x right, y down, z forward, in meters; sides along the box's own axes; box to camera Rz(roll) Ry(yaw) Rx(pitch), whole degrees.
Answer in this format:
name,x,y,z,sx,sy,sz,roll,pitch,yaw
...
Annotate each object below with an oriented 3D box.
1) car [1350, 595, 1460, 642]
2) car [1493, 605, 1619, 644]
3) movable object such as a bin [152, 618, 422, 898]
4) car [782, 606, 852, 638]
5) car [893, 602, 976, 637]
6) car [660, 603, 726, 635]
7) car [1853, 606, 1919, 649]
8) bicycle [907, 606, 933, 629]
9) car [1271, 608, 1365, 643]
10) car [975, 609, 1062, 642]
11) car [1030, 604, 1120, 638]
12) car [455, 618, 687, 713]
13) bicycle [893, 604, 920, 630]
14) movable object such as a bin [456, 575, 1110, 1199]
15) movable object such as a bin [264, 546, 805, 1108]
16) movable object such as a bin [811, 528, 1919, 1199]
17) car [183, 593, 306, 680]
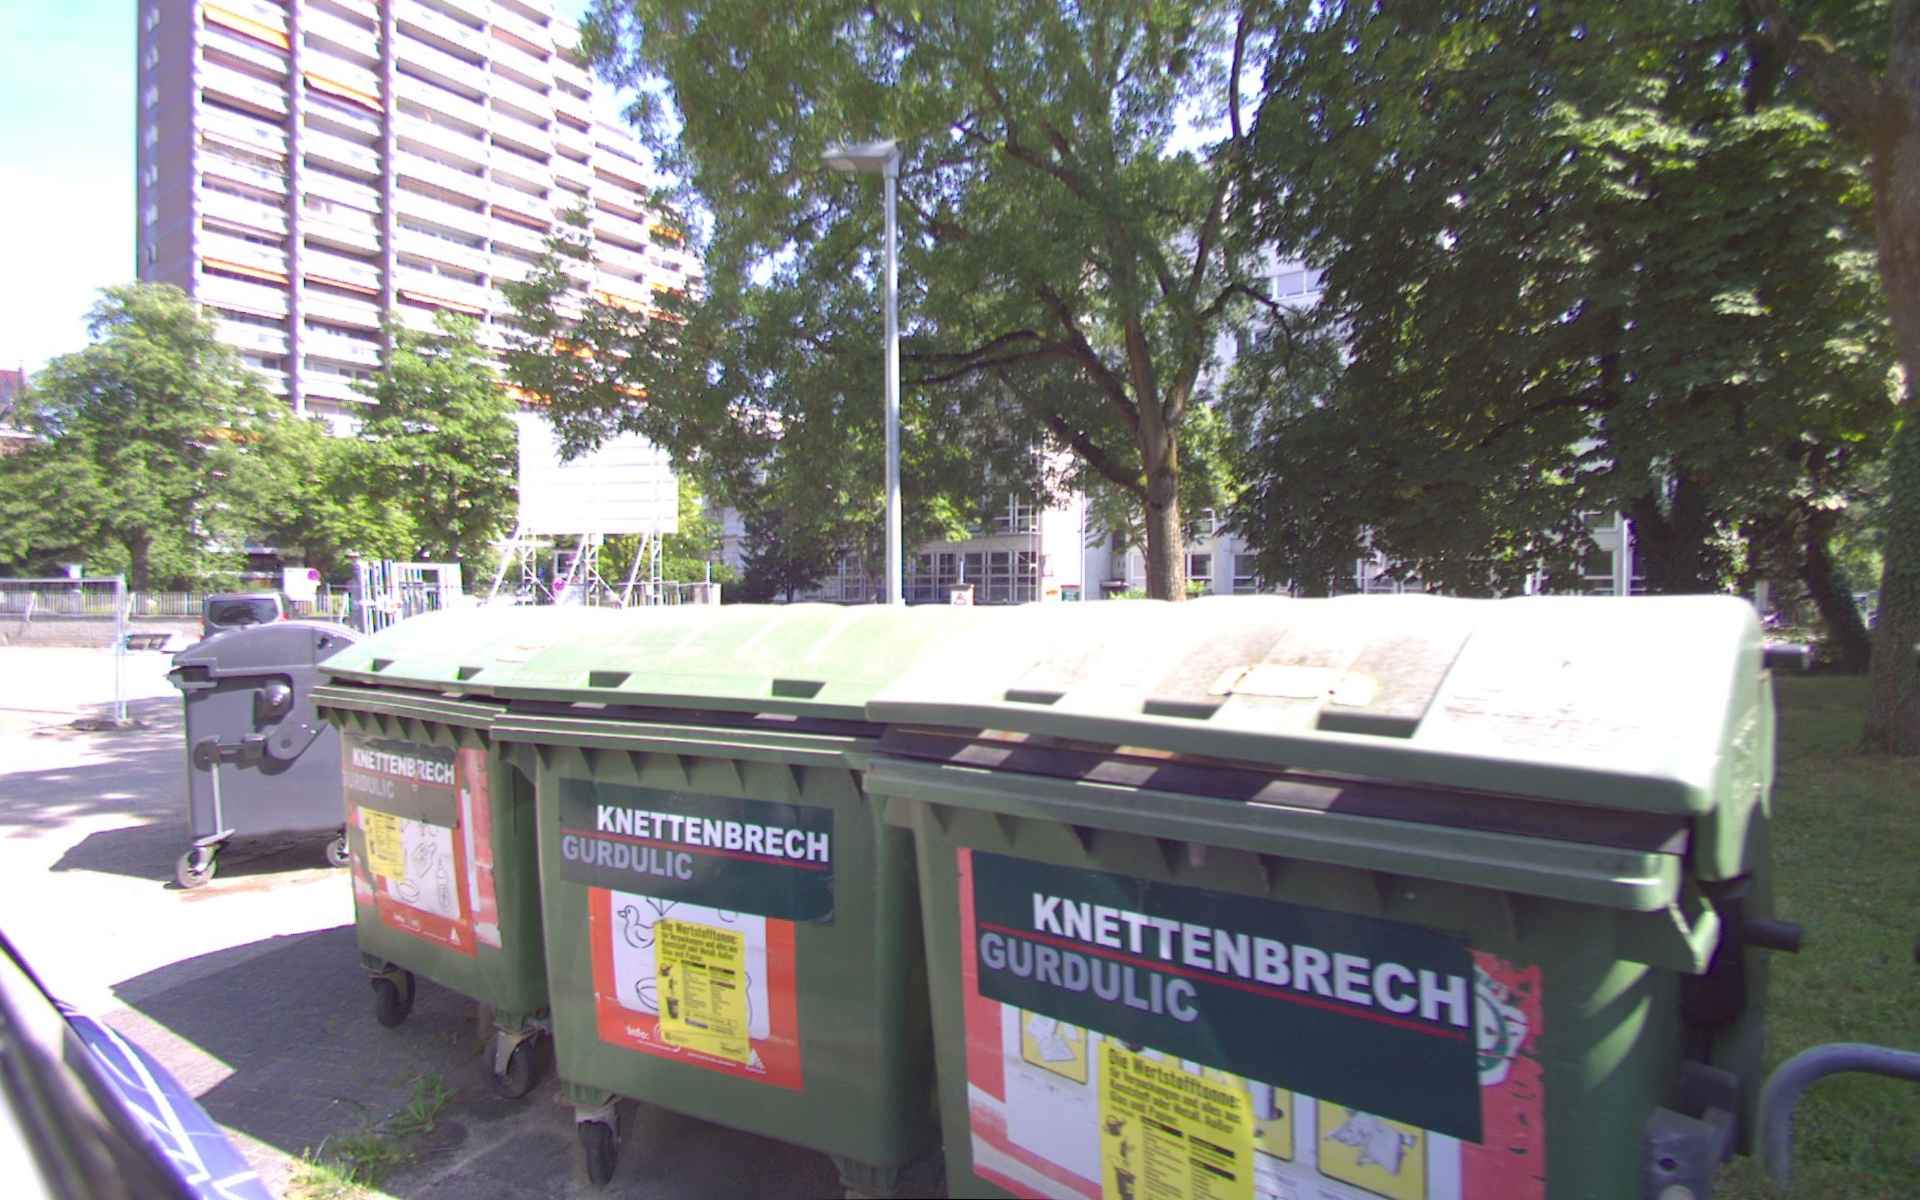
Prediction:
name,x,y,z,sx,sy,sz,roll,pitch,yaw
car,19.078,0.791,43.529,1.757,1.921,4.010,1,-2,-35
car,25.100,1.037,42.750,1.753,1.550,4.230,1,-2,-35
movable object such as a bin,-4.031,0.830,6.132,1.227,1.407,1.408,0,0,-34
car,-6.962,1.040,49.114,1.627,1.463,4.009,0,0,-37
car,-1.262,0.908,48.016,1.778,1.577,4.401,0,-1,-36
car,-13.316,0.907,50.292,1.812,1.420,4.158,-2,2,-35
car,38.338,1.073,40.147,1.798,1.674,4.012,0,-1,-31
bicycle,-2.174,0.958,55.347,0.487,1.209,1.996,0,0,29
car,15.724,1.071,44.622,1.680,1.474,3.863,0,-1,-24
car,2.690,1.159,47.426,1.772,1.487,4.194,0,-1,-38
car,5.332,0.954,47.537,1.772,1.497,4.351,0,-1,-35
car,-6.505,1.031,17.458,1.647,1.423,4.155,0,-1,14
bicycle,-2.946,0.928,56.041,0.487,1.389,1.996,0,0,29
movable object such as a bin,-0.380,0.677,2.677,1.217,1.442,1.237,0,0,27
movable object such as a bin,-1.461,0.604,3.577,1.335,1.492,1.234,0,0,33
movable object such as a bin,0.661,0.662,1.758,1.364,1.442,1.232,0,0,38
car,-16.533,0.764,23.579,1.889,1.794,4.326,-2,1,-30
